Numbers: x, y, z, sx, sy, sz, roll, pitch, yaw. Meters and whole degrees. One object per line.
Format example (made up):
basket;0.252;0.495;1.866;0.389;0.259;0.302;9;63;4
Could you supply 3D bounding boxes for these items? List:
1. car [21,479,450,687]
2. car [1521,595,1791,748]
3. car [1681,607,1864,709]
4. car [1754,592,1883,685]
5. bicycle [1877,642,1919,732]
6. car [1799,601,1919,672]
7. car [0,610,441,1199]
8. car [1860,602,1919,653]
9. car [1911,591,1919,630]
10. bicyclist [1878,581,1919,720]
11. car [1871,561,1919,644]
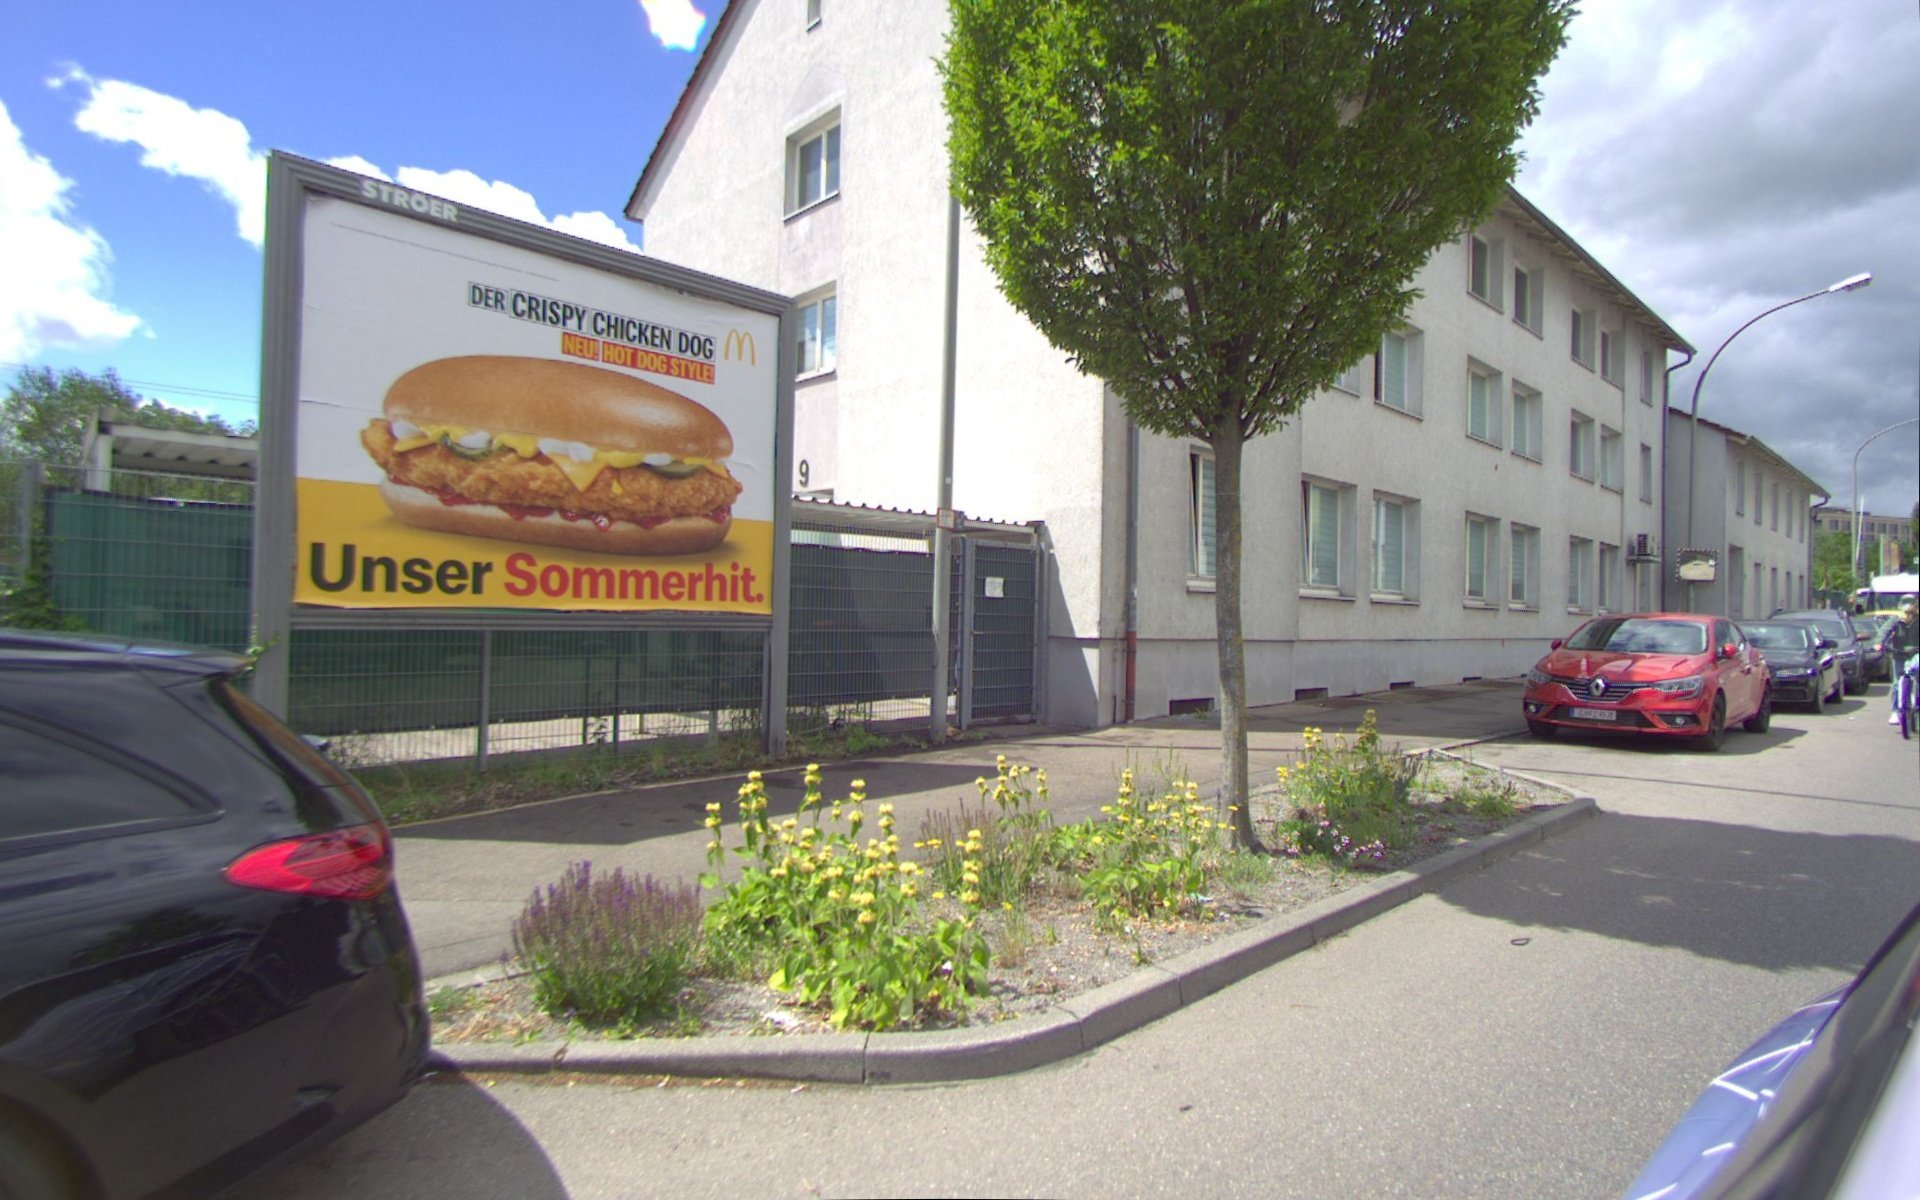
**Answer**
car;-11.508;-0.298;16.373;5.366;2.802;2.278;-2;1;-44
car;8.332;0.744;11.975;4.188;1.491;1.737;2;-2;-42
car;13.464;0.880;16.656;4.778;1.442;1.736;2;-2;-44
car;17.347;0.771;20.363;1.676;1.659;4.720;-2;-3;43
bicycle;11.781;1.046;12.387;1.704;0.987;0.740;0;0;-45
car;21.391;0.856;24.012;5.002;1.530;1.705;2;-3;-44
car;-3.416;0.782;1.262;4.630;1.484;1.792;0;0;-44
car;28.632;0.795;30.683;3.725;1.466;1.595;0;0;-42
car;41.327;0.429;42.652;4.026;1.529;1.568;-2;1;-43
bicyclist;11.675;0.595;12.293;0.720;1.647;0.740;-1;1;-45
car;33.314;0.003;35.152;7.164;2.674;2.034;-2;1;-44
